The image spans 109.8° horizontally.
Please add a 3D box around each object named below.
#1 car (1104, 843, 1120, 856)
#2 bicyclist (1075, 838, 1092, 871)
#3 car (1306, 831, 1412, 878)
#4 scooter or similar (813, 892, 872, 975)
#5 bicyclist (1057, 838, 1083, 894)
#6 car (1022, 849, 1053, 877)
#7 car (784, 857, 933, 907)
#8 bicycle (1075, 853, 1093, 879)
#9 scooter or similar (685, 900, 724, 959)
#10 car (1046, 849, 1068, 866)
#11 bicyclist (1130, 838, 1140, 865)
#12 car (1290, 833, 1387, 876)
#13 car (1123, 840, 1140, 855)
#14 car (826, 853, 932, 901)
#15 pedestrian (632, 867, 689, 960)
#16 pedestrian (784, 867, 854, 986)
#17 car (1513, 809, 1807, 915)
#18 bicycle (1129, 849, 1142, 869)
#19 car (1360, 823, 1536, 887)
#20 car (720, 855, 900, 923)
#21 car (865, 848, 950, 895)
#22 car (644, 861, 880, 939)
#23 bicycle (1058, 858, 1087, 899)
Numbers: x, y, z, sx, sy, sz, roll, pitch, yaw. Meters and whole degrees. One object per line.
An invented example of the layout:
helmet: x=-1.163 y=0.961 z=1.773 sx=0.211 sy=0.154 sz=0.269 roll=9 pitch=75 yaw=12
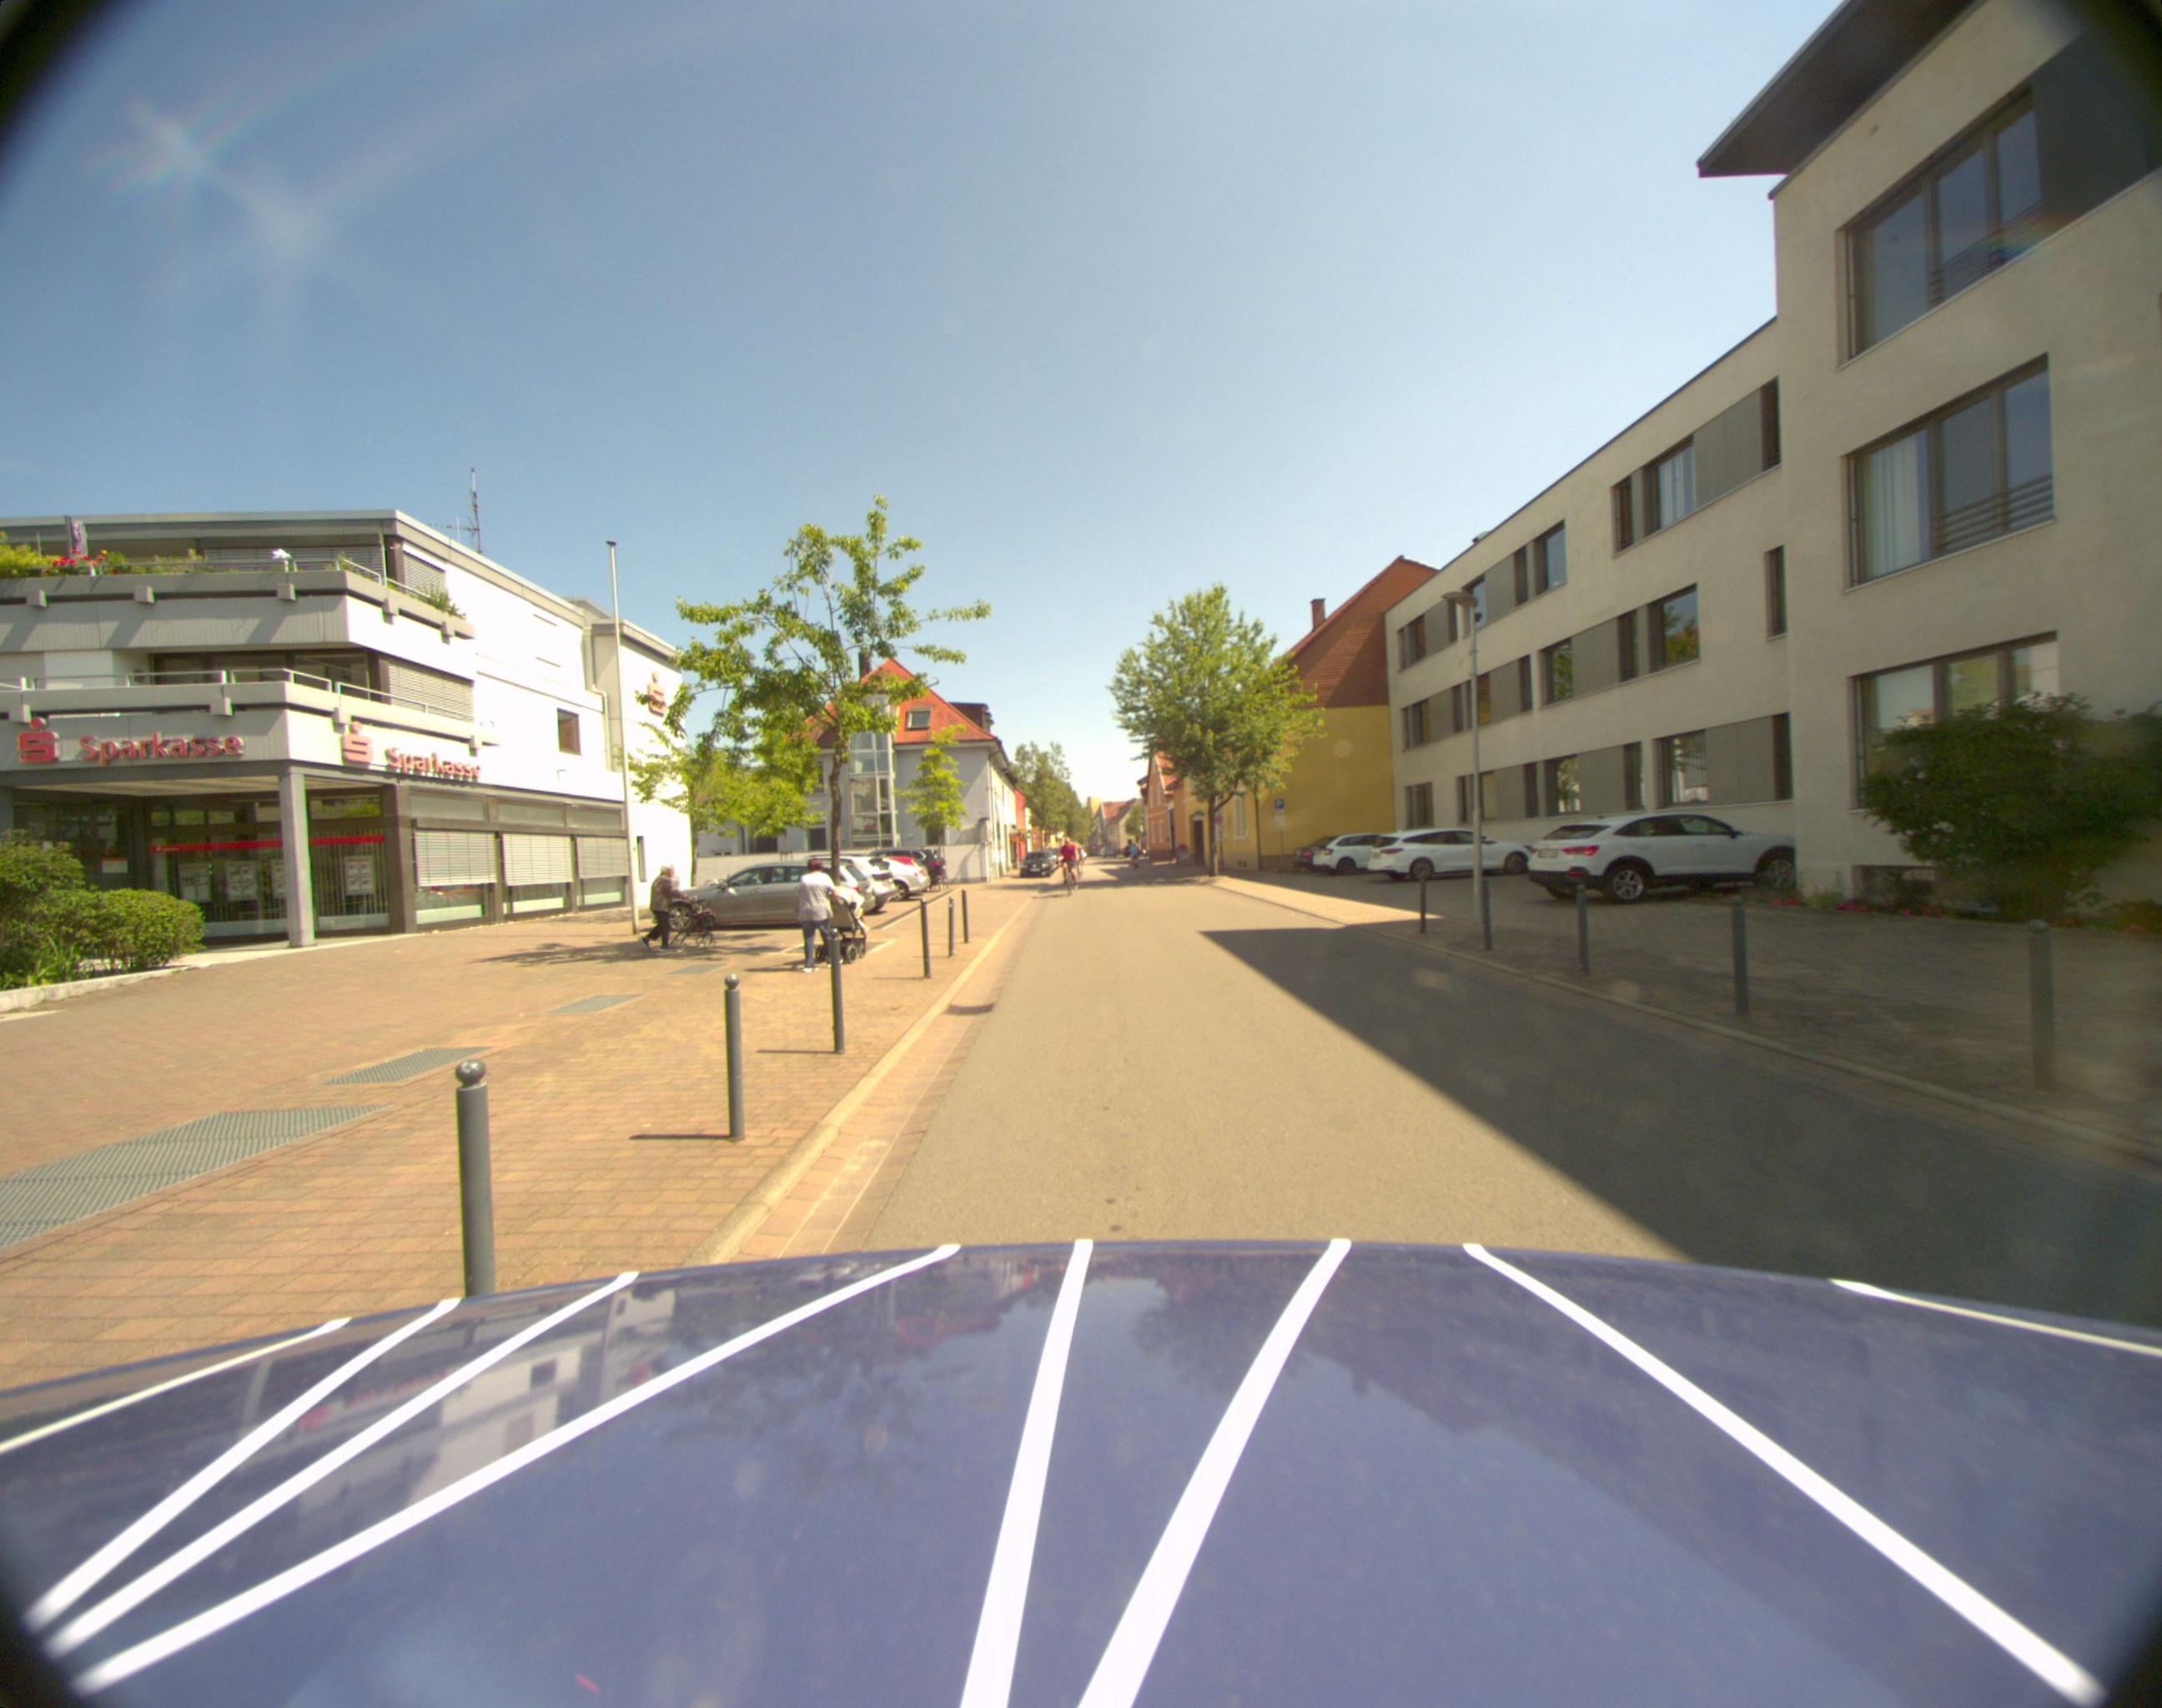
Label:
car: x=4.263 y=-0.635 z=105.679 sx=1.999 sy=1.696 sz=3.999 roll=-2 pitch=1 yaw=-1
bicyclist: x=0.104 y=0.035 z=37.635 sx=0.703 sy=1.573 sz=0.878 roll=-4 pitch=2 yaw=-3
car: x=9.922 y=0.015 z=27.292 sx=3.139 sy=1.442 sz=1.642 roll=-4 pitch=1 yaw=1
scooter or similar: x=-3.502 y=1.148 z=11.200 sx=0.505 sy=1.112 sz=0.909 roll=-1 pitch=1 yaw=4
bicyclist: x=-0.362 y=0.359 z=24.204 sx=0.703 sy=1.707 sz=0.759 roll=-4 pitch=2 yaw=-3
car: x=-2.478 y=0.487 z=42.588 sx=1.530 sy=1.444 sz=3.519 roll=-2 pitch=1 yaw=-5
car: x=-7.174 y=0.873 z=24.890 sx=4.446 sy=1.434 sz=1.655 roll=-1 pitch=1 yaw=-8
bicycle: x=0.154 y=0.576 z=37.684 sx=0.690 sy=1.183 sz=1.798 roll=-4 pitch=1 yaw=-3
scooter or similar: x=-6.491 y=1.293 z=13.112 sx=0.547 sy=0.940 sz=0.535 roll=-3 pitch=1 yaw=-24
car: x=-1.978 y=0.242 z=61.934 sx=1.530 sy=1.298 sz=3.248 roll=-1 pitch=1 yaw=-6
bicyclist: x=3.403 y=-0.161 z=47.767 sx=0.538 sy=1.630 sz=0.551 roll=-2 pitch=1 yaw=-2
car: x=9.959 y=0.003 z=29.503 sx=3.258 sy=1.393 sz=1.374 roll=-4 pitch=1 yaw=-2
car: x=6.591 y=-0.830 z=99.796 sx=1.826 sy=1.805 sz=3.999 roll=-2 pitch=1 yaw=-1
car: x=-7.224 y=0.789 z=27.424 sx=3.431 sy=1.543 sz=1.490 roll=-2 pitch=1 yaw=-5
pedestrian: x=-7.086 y=0.989 z=12.841 sx=0.725 sy=1.492 sz=0.531 roll=-3 pitch=1 yaw=-24
pedestrian: x=-3.554 y=0.955 z=10.372 sx=0.512 sy=1.507 sz=1.048 roll=-1 pitch=1 yaw=2
car: x=10.389 y=0.123 z=13.837 sx=3.997 sy=1.539 sz=1.748 roll=-4 pitch=1 yaw=-2
bicycle: x=3.442 y=0.303 z=47.802 sx=0.595 sy=1.183 sz=1.724 roll=-3 pitch=1 yaw=-2
car: x=10.593 y=0.008 z=22.101 sx=4.324 sy=1.470 sz=1.513 roll=-4 pitch=1 yaw=0
car: x=-6.872 y=0.847 z=19.607 sx=4.047 sy=1.550 sz=1.711 roll=-1 pitch=1 yaw=-6
car: x=-6.711 y=0.652 z=29.565 sx=3.041 sy=1.727 sz=1.344 roll=-1 pitch=1 yaw=-5
car: x=-6.865 y=0.957 z=16.741 sx=4.446 sy=1.457 sz=1.689 roll=-1 pitch=2 yaw=-6
bicycle: x=-0.287 y=0.745 z=24.224 sx=0.738 sy=1.183 sz=1.970 roll=-4 pitch=1 yaw=-3
